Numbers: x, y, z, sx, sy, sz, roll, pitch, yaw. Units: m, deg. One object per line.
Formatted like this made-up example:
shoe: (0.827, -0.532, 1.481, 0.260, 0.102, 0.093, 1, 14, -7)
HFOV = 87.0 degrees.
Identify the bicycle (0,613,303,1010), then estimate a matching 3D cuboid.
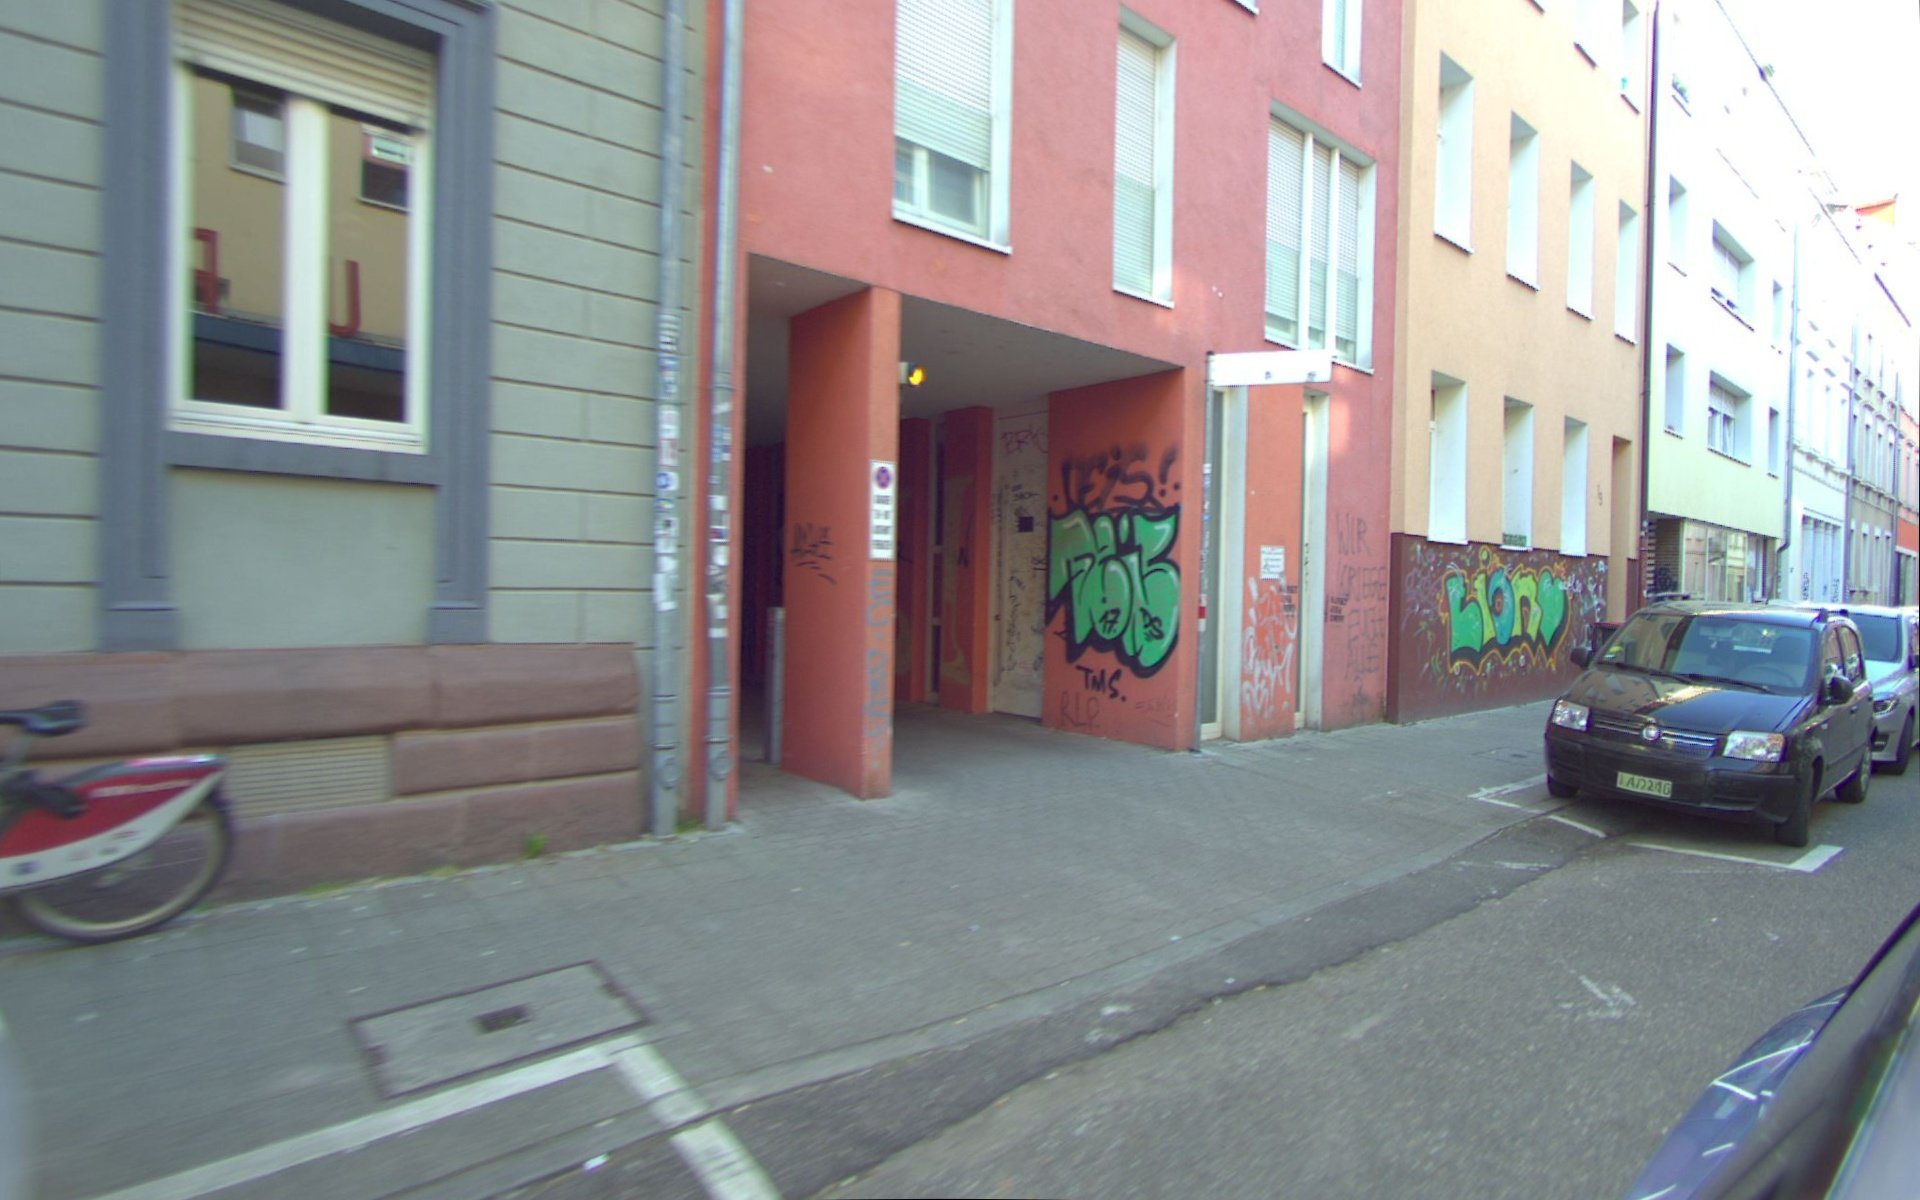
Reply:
bicycle: (-3.207, 0.642, 3.136, 1.869, 1.110, 0.711, -1, 5, -43)

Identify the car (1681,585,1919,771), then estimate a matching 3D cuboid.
car: (9.393, 0.677, 10.813, 4.097, 1.575, 1.750, 0, 2, -40)

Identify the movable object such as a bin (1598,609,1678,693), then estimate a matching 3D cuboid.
movable object such as a bin: (9.445, 0.687, 14.103, 0.723, 1.070, 0.694, 1, 4, -40)

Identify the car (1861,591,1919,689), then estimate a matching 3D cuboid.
car: (17.159, 0.682, 17.539, 3.909, 1.541, 1.701, 0, 3, -40)

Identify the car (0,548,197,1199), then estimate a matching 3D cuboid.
car: (-2.993, 0.699, 0.160, 4.468, 1.471, 1.790, 0, 5, -42)

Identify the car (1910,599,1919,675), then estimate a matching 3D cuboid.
car: (20.597, 0.763, 20.436, 4.121, 1.470, 1.691, 0, 3, -42)

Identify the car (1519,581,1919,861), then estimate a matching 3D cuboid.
car: (5.836, 0.709, 7.669, 3.389, 1.558, 1.606, 0, 4, -40)
